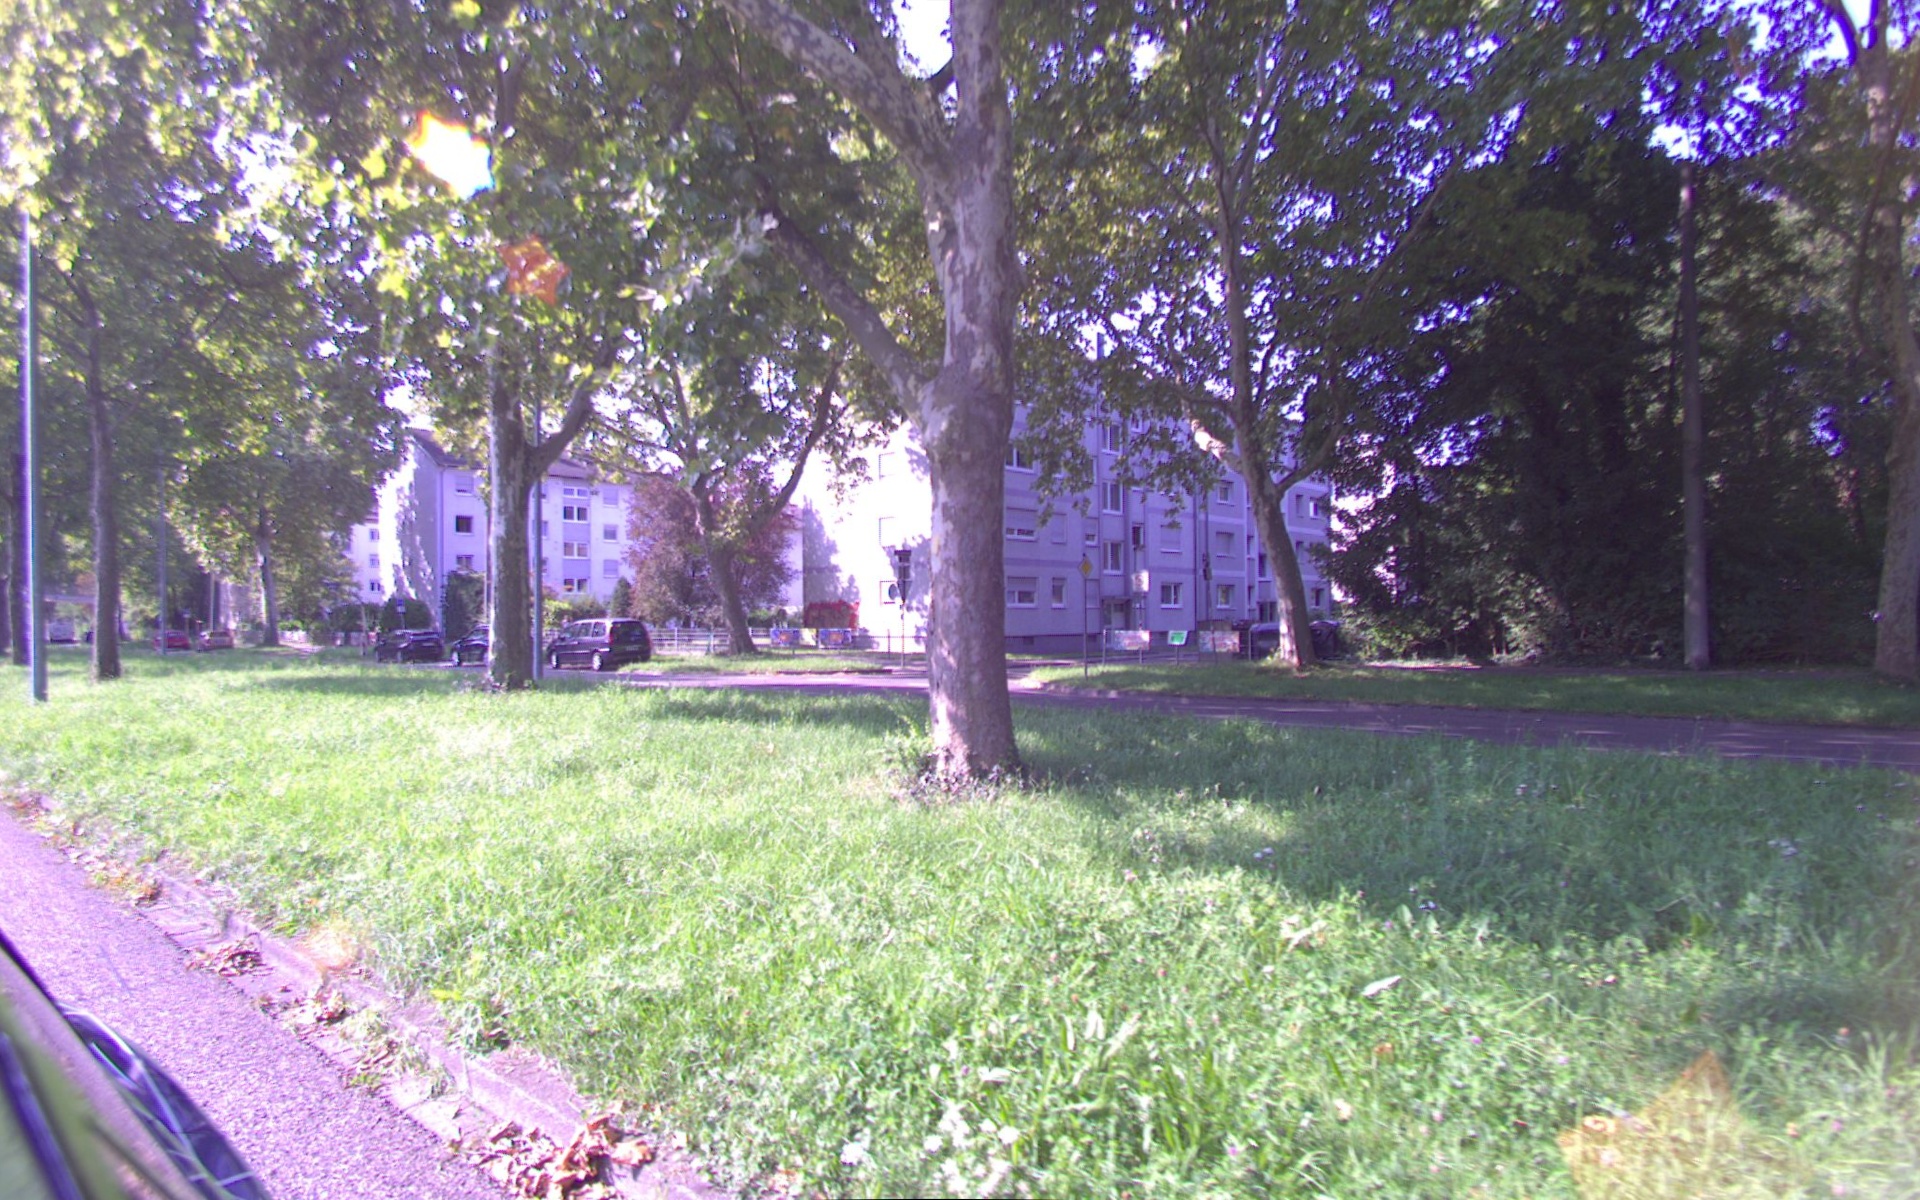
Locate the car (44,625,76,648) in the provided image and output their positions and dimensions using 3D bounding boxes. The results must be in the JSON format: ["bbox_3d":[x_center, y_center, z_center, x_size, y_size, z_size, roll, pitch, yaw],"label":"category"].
[{"bbox_3d":[-104.304,4.244,117.273,6.266,2.448,2.183,-2,1,44],"label":"car"}]

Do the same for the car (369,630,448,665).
[{"bbox_3d":[-25.059,2.148,45.883,4.538,1.519,1.681,-3,-2,41],"label":"car"}]

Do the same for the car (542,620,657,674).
[{"bbox_3d":[-12.585,1.603,35.183,4.657,1.745,1.681,-2,-1,41],"label":"car"}]

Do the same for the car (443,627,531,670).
[{"bbox_3d":[-18.630,1.881,39.827,3.998,1.580,1.681,-2,-2,41],"label":"car"}]

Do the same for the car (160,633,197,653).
[{"bbox_3d":[-58.223,3.179,75.381,4.063,1.462,1.522,-2,-1,42],"label":"car"}]

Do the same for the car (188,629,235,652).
[{"bbox_3d":[-49.814,2.679,67.330,4.063,1.441,1.783,-2,-1,42],"label":"car"}]

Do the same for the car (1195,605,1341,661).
[{"bbox_3d":[10.170,1.085,33.653,1.677,1.739,4.391,0,-1,-44],"label":"car"}]

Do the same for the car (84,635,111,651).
[{"bbox_3d":[-84.808,4.206,99.482,3.862,1.544,1.506,-1,-2,42],"label":"car"}]

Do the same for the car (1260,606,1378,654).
[{"bbox_3d":[13.945,1.155,39.494,1.677,1.739,4.003,0,-1,-44],"label":"car"}]
